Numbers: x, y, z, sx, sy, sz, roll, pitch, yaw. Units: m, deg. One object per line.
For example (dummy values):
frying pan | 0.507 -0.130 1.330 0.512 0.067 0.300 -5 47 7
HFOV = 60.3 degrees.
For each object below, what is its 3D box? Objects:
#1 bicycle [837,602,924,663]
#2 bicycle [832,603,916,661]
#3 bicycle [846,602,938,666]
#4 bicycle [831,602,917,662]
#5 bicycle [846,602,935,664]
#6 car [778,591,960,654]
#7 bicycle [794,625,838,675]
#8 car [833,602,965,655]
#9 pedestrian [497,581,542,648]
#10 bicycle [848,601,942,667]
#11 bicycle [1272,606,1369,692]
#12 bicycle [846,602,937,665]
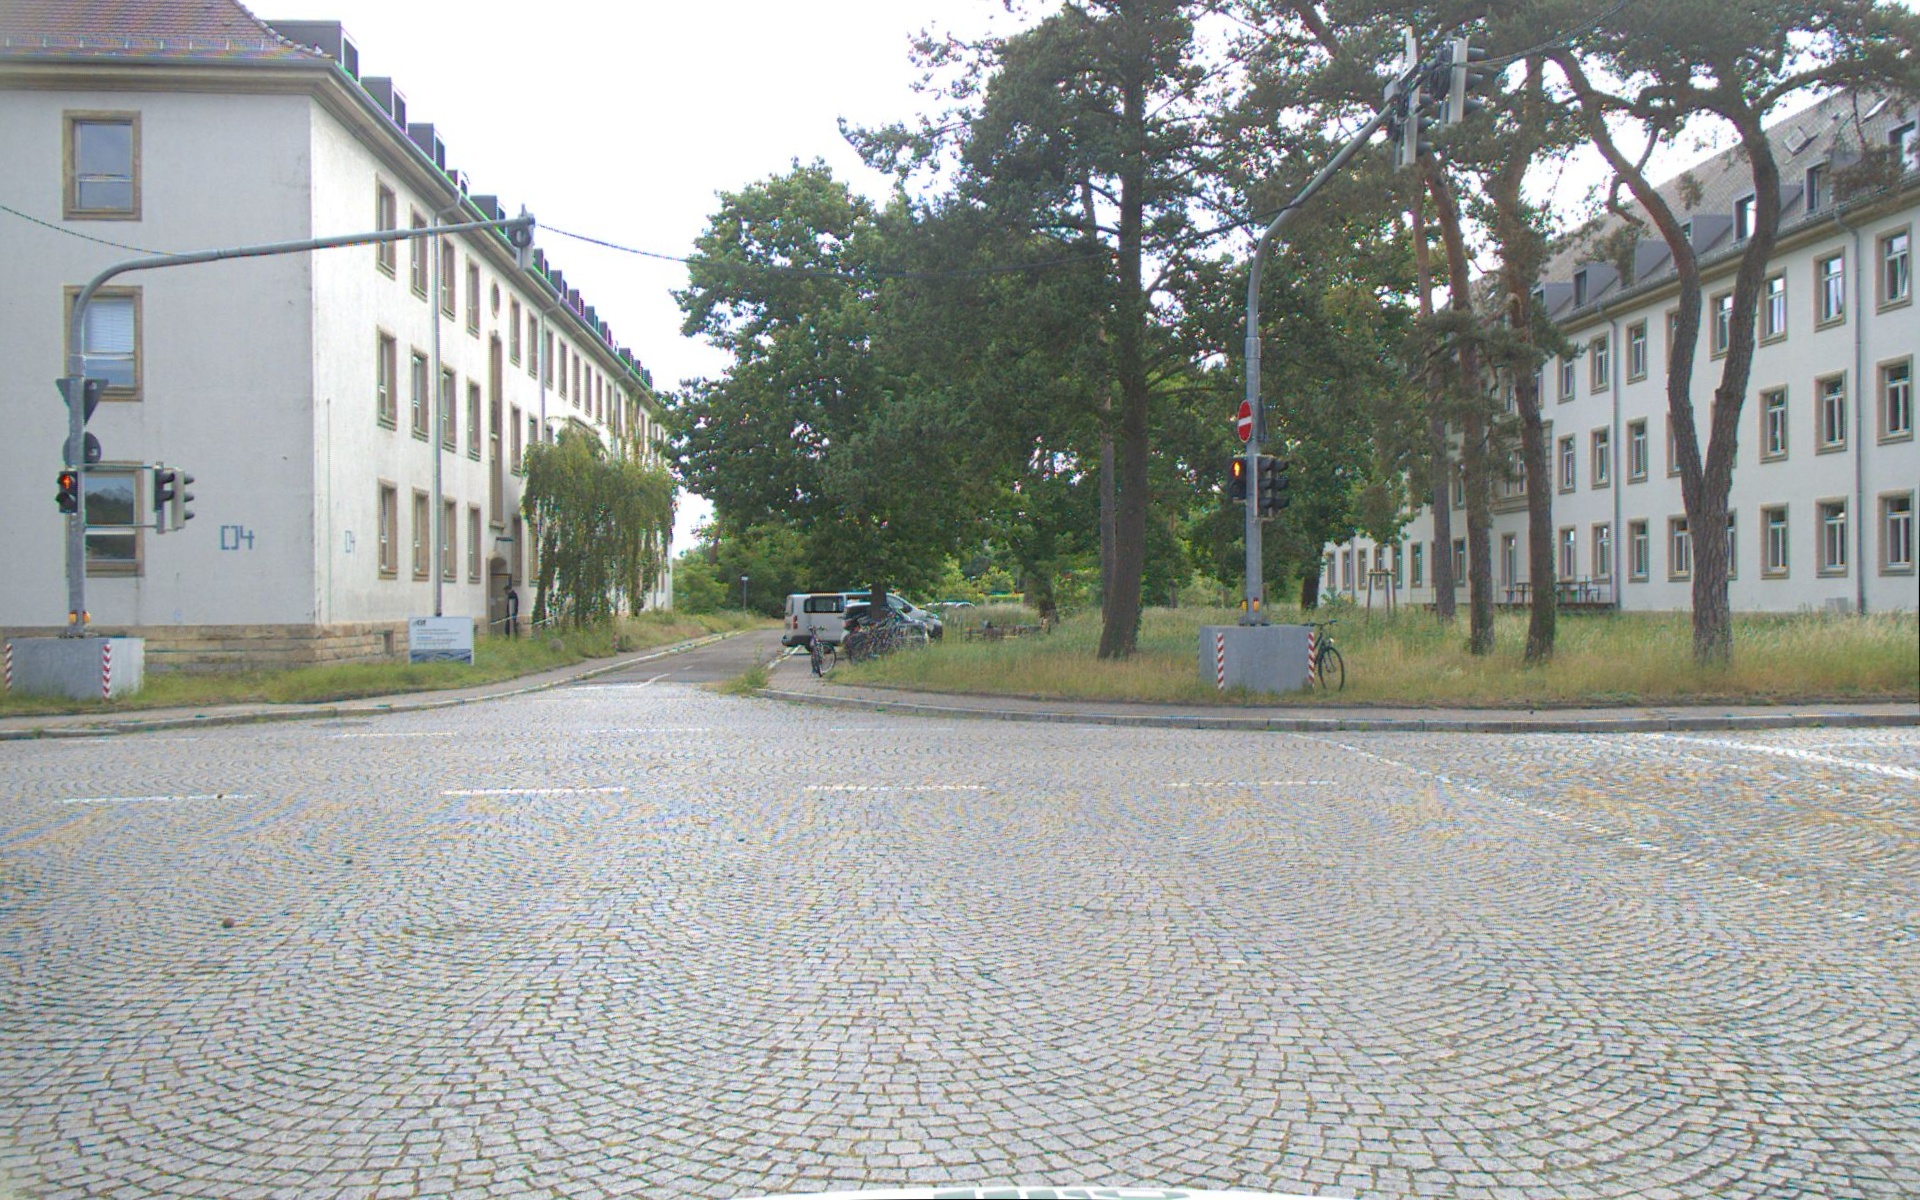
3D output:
bicycle | -1.871 0.760 39.053 2.028 1.402 0.619 0 0 -3
bicycle | -2.098 0.772 40.526 2.028 1.402 0.619 0 0 -3
bicycle | -1.516 0.745 36.853 2.028 1.402 0.619 0 0 -3
bicycle | -2.065 0.764 39.780 2.028 1.402 0.619 0 0 -3
bicycle | -1.600 0.759 38.271 2.028 1.402 0.619 0 0 -3
car | -2.995 0.720 54.001 5.599 1.944 2.220 0 0 -16
bicycle | -2.978 1.025 34.285 0.605 0.980 2.077 0 0 3
car | -1.911 0.853 50.696 3.859 1.571 1.996 0 0 -8
pedestrian | -13.552 0.449 50.920 1.064 2.049 1.022 0 0 2
bicycle | -1.432 0.740 36.187 2.028 1.402 0.619 0 0 -3
bicycle | 5.282 0.696 24.334 0.891 1.197 1.872 0 0 -4
bicycle | -1.558 0.751 37.476 2.028 1.402 0.619 0 0 -3
